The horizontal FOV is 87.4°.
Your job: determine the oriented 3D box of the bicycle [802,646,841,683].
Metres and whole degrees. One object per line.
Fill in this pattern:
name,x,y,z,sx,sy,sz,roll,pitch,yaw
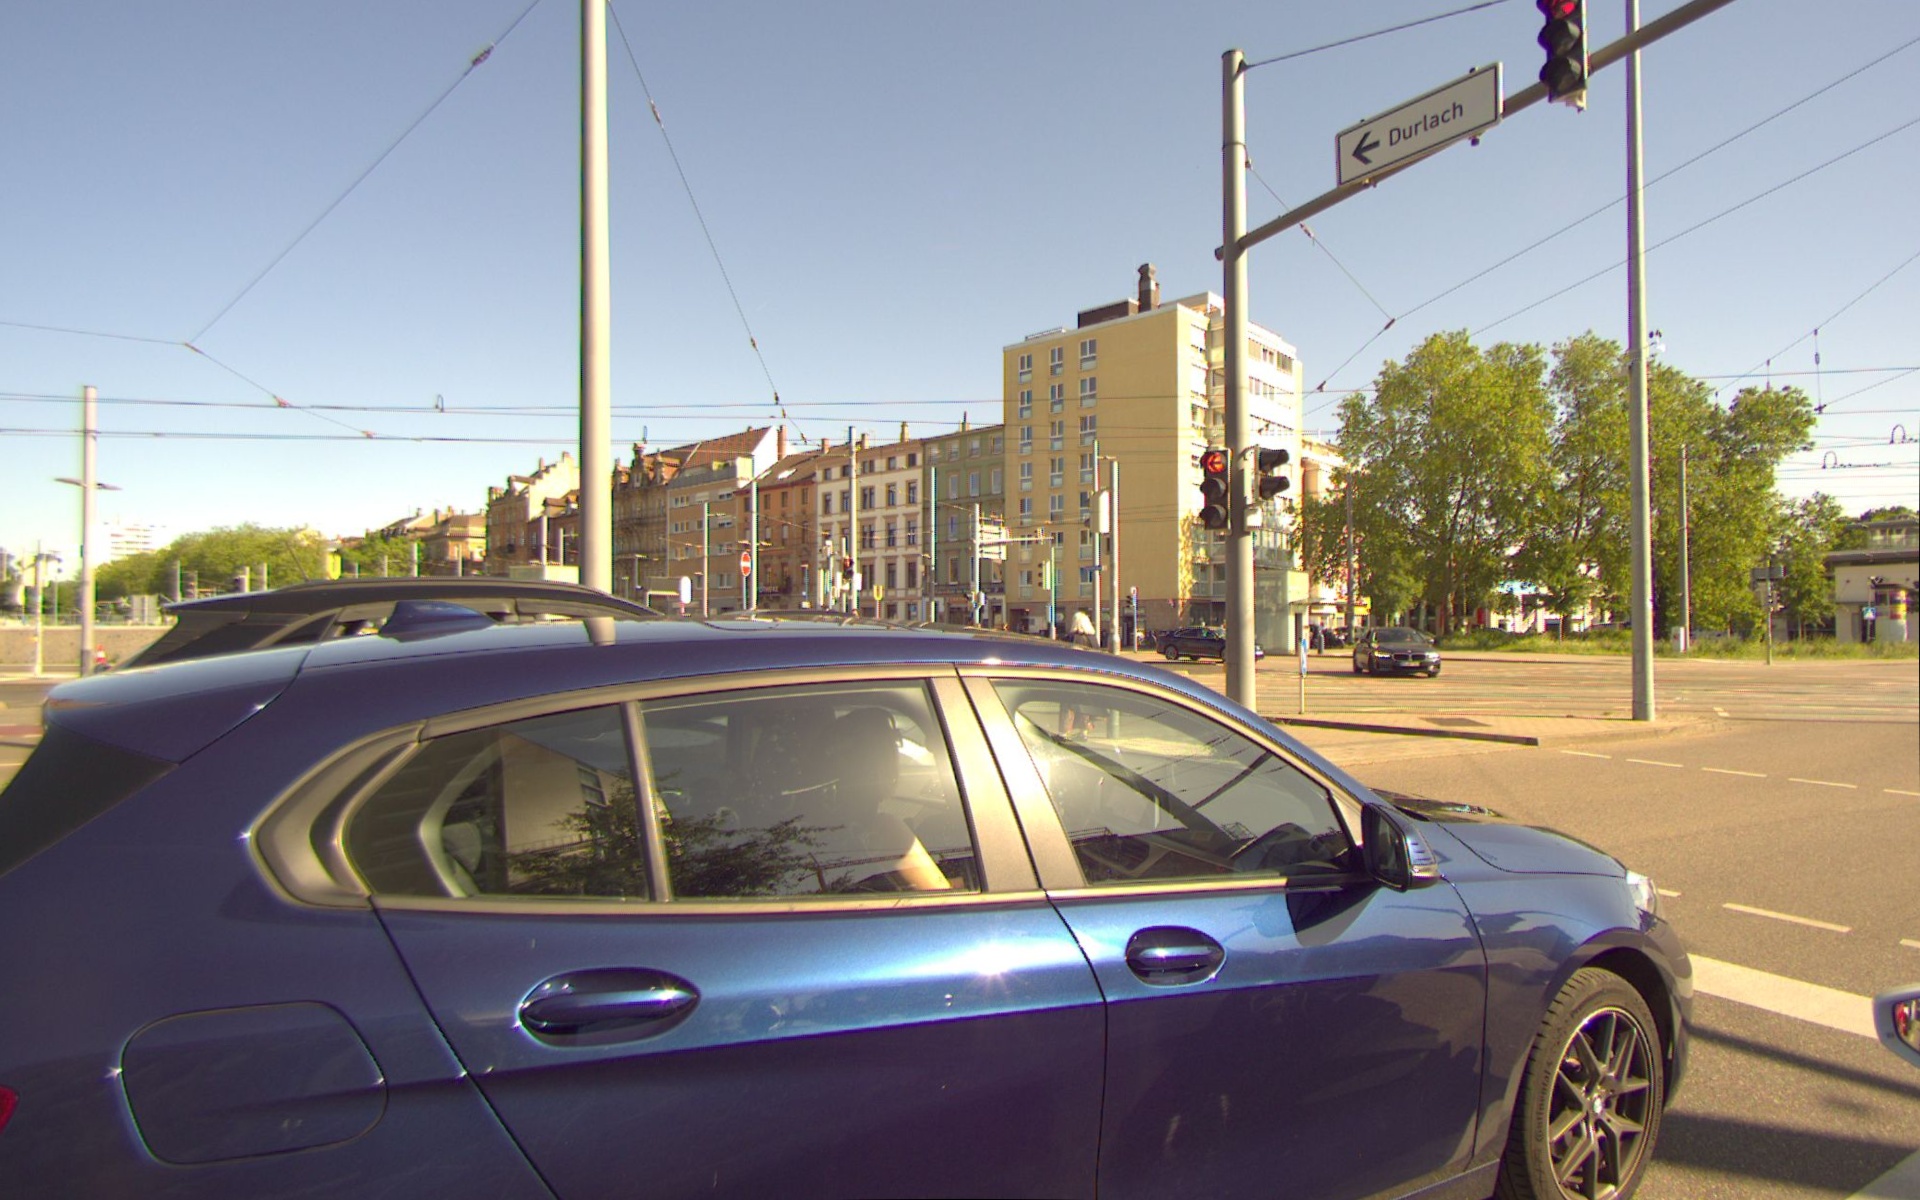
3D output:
bicycle,-3.633,1.669,26.188,0.668,0.890,1.891,0,-2,-18

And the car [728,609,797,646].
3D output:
car,-15.100,2.093,76.603,5.838,2.780,2.133,-1,-2,42

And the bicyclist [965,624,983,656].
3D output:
bicyclist,0.634,1.845,46.287,0.609,1.462,0.614,1,-1,-30

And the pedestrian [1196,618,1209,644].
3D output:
pedestrian,14.565,1.854,60.358,0.702,1.581,0.557,0,-1,20

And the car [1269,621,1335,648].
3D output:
car,21.685,2.176,63.764,3.691,1.684,1.586,-1,-2,42

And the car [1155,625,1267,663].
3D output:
car,10.156,1.758,40.769,4.115,1.457,1.719,-1,-2,41

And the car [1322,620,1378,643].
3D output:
car,29.974,2.421,77.273,3.691,1.684,1.586,-1,-2,42

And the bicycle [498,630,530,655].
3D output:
bicycle,-20.532,1.944,46.225,1.872,1.120,0.674,-1,-2,44

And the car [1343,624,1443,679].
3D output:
car,12.985,1.497,30.399,1.827,1.521,4.571,0,-2,11

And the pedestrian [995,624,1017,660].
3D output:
pedestrian,2.081,1.896,45.253,0.669,1.593,0.740,1,-2,-45

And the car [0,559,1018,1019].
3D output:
car,-1.850,0.668,5.074,3.959,1.537,1.751,1,-1,-28

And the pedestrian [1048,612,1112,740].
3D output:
pedestrian,1.504,0.943,12.629,0.747,1.575,0.357,0,-1,-6

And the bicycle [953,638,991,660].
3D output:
bicycle,0.547,2.252,46.221,1.666,0.958,0.614,1,-2,-30

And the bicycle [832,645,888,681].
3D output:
bicycle,-2.662,1.649,26.560,0.672,0.890,1.880,1,-2,-35

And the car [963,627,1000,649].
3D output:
car,1.374,2.494,67.000,1.745,1.446,3.873,0,-2,-10

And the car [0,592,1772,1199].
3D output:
car,0.101,0.760,2.528,3.984,1.464,1.703,1,0,-30

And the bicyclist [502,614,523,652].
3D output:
bicyclist,-20.556,1.523,46.163,0.609,1.735,0.674,-1,-2,44

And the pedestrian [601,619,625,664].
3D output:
pedestrian,-13.667,1.625,39.574,0.672,1.735,0.793,1,-1,-38

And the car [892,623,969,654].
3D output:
car,-1.688,2.166,56.413,4.246,1.675,1.848,-1,-2,42

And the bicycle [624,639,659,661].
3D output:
bicycle,-13.230,2.079,41.754,0.673,0.890,1.875,1,-2,-42

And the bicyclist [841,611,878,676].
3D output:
bicyclist,-2.664,1.144,26.588,0.672,1.676,0.777,1,-1,-35

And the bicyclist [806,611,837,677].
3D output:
bicyclist,-3.628,1.136,26.214,0.668,1.676,0.782,0,-1,-19

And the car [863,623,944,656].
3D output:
car,-3.036,2.088,53.724,4.244,1.675,1.849,-1,-2,41

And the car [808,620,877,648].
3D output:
car,-7.278,2.086,62.178,4.244,1.675,1.849,-1,-2,40

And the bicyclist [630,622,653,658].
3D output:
bicyclist,-13.243,1.667,41.781,0.673,1.474,0.775,1,-2,-42

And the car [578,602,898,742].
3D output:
car,-3.027,0.919,14.142,4.040,1.681,1.848,1,-2,-41
